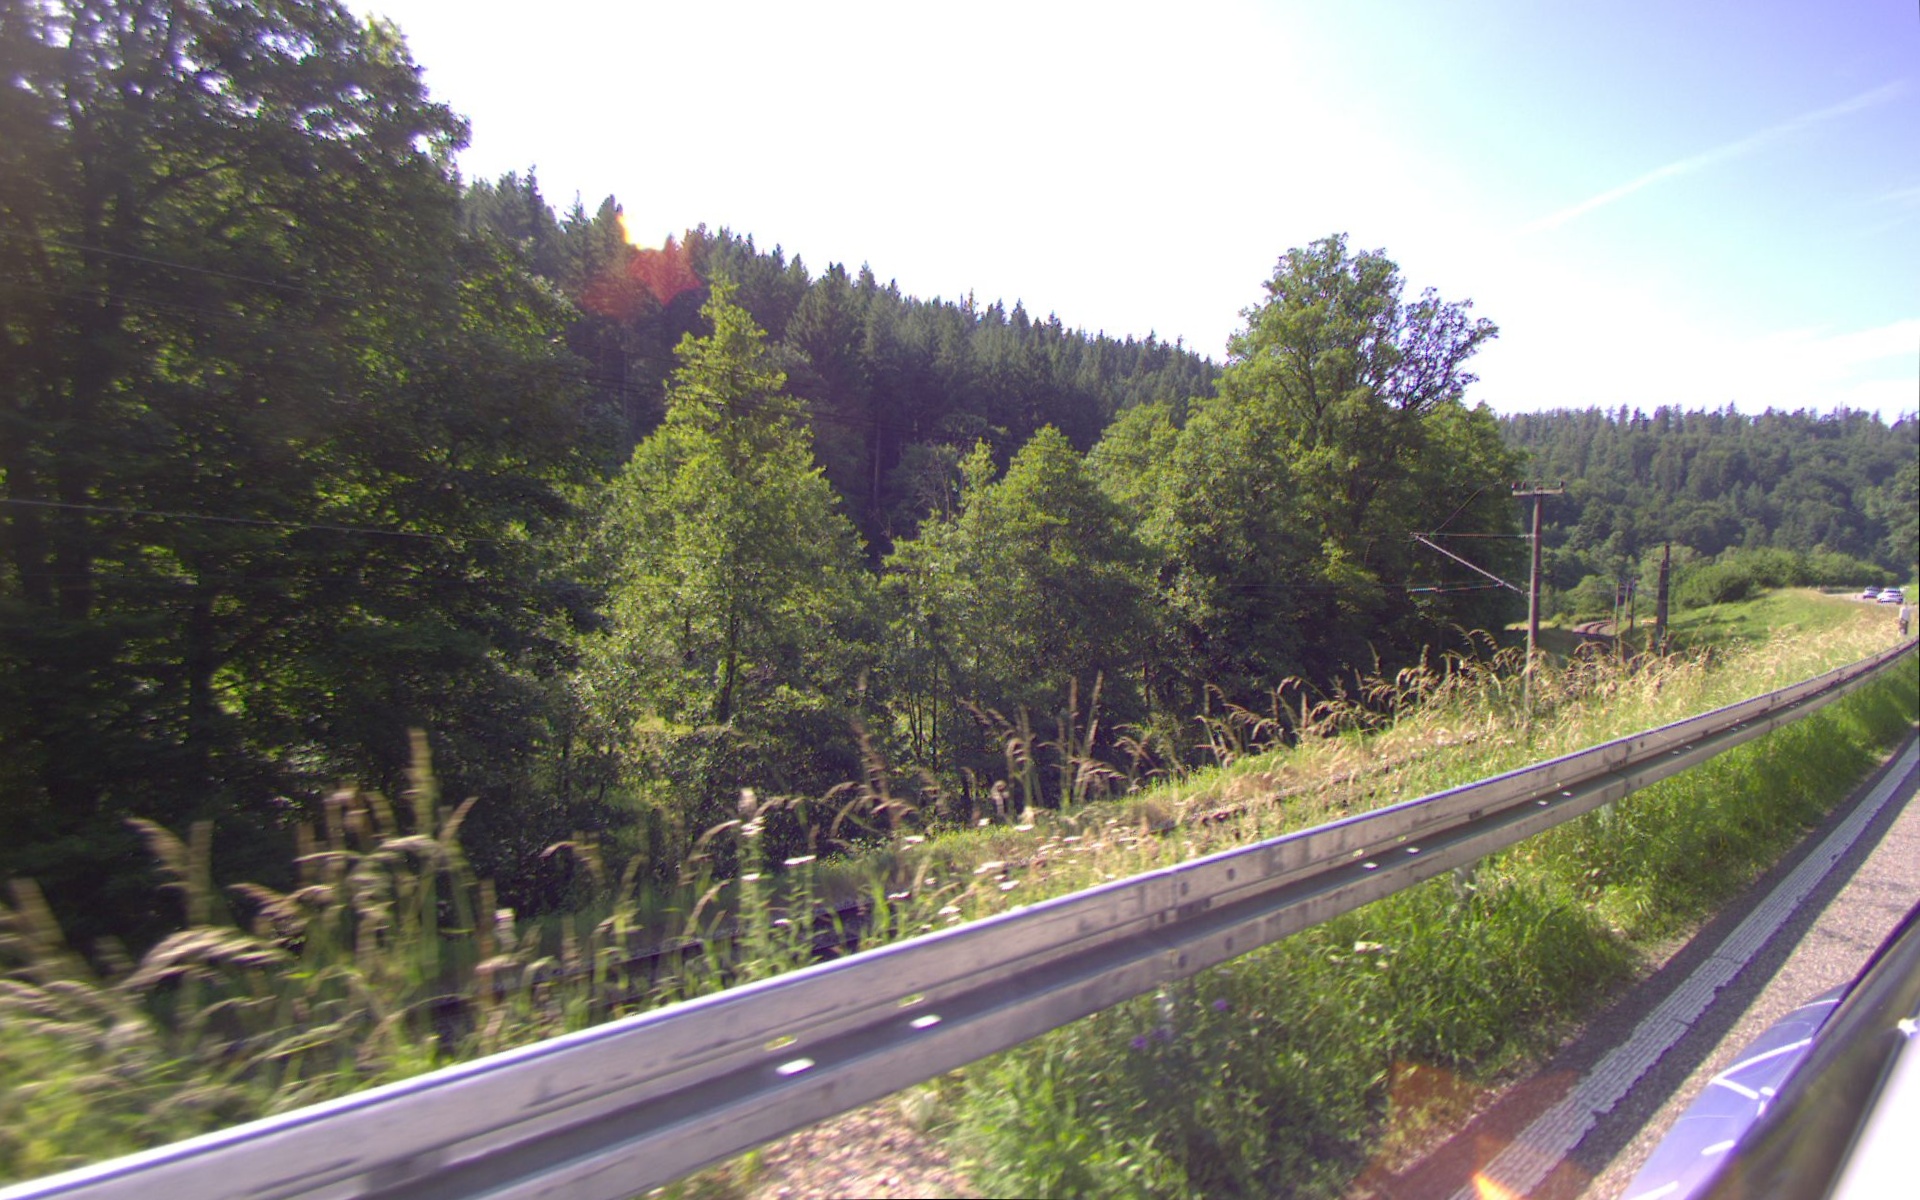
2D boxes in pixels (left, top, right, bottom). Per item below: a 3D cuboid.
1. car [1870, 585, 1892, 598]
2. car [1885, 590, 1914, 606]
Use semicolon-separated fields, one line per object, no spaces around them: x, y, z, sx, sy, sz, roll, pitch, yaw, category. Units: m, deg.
124.552;-1.111;136.903;1.864;1.643;4.412;2;2;38;car
103.909;-0.206;111.950;1.991;1.703;4.835;2;2;40;car
